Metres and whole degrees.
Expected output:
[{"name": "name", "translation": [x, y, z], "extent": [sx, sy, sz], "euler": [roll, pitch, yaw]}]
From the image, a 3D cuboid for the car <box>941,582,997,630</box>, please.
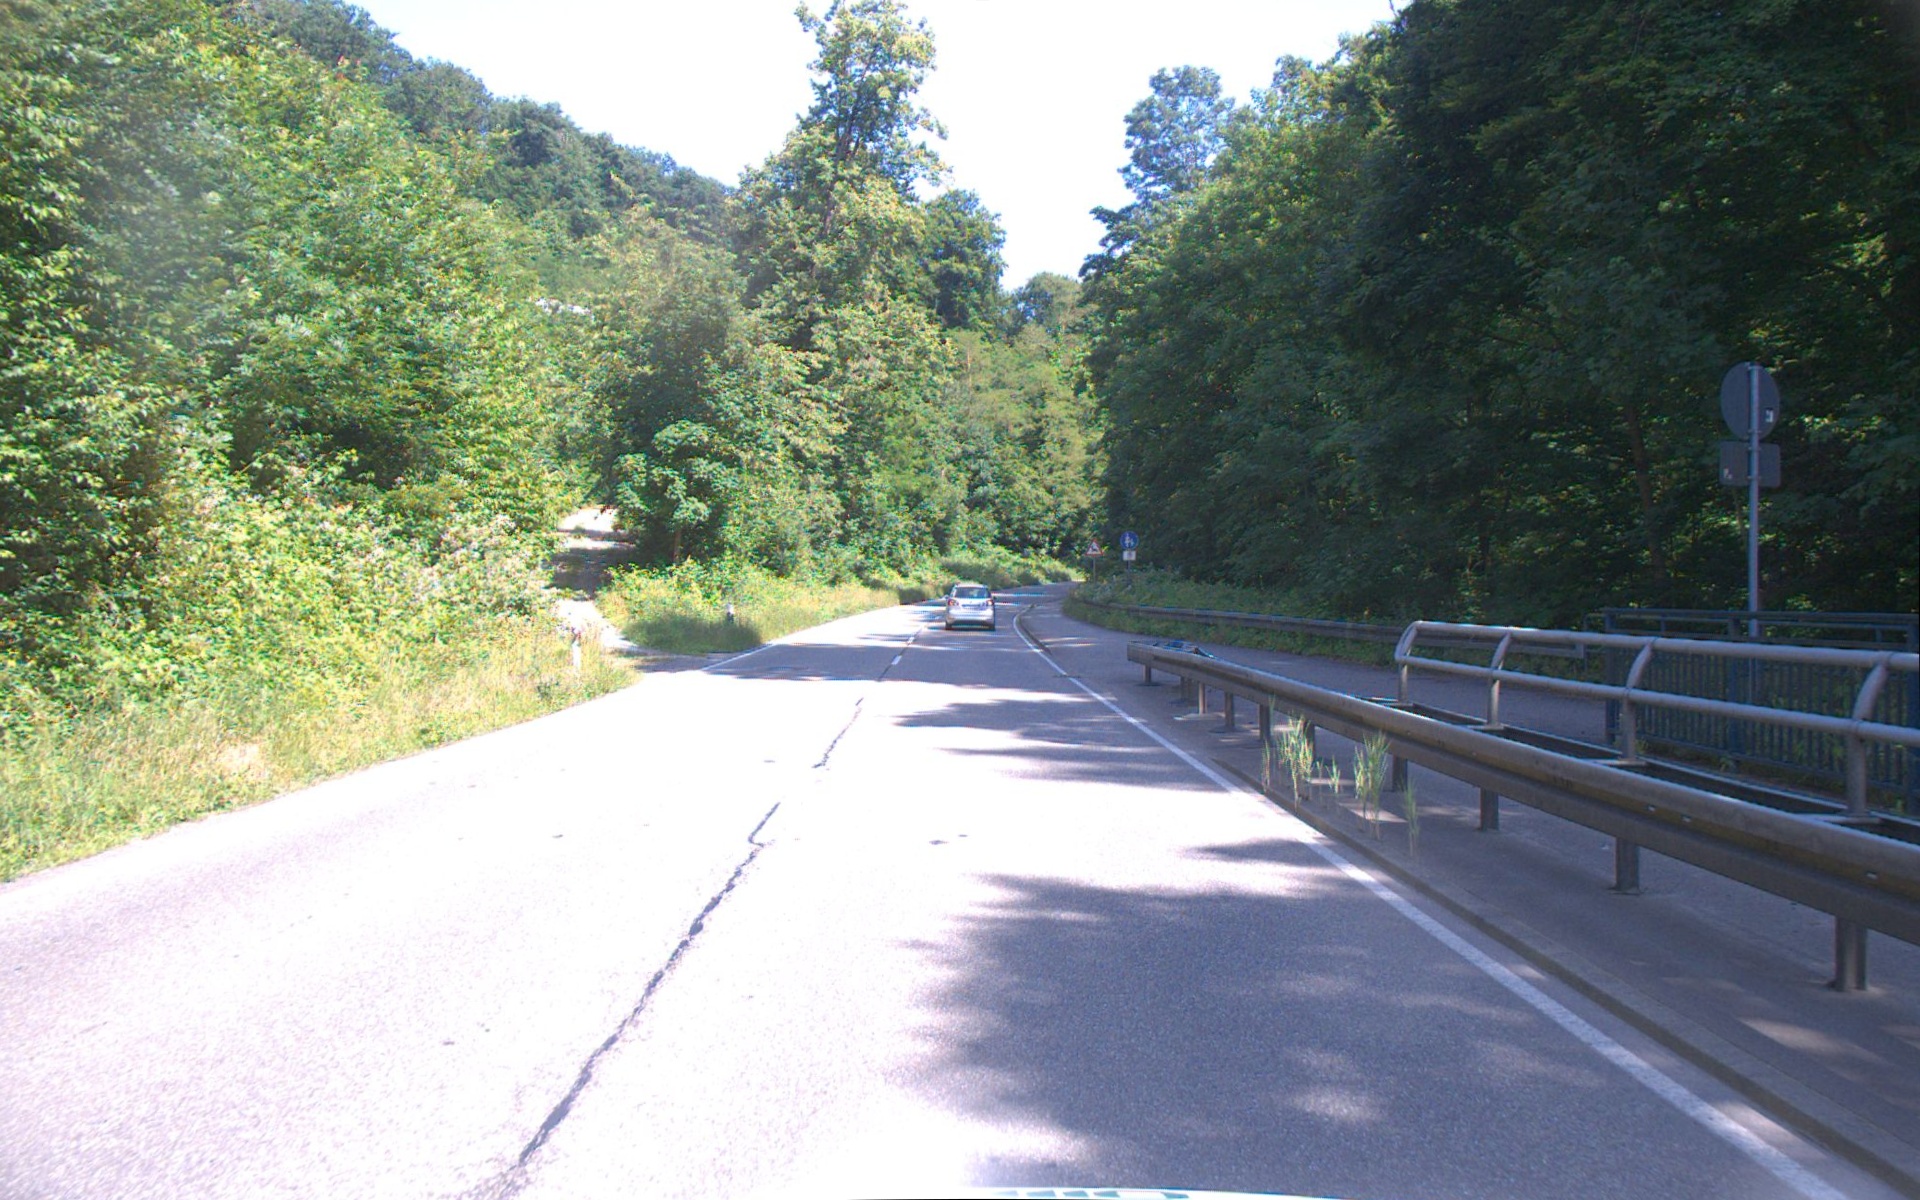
[{"name": "car", "translation": [0.344, 0.184, 57.371], "extent": [1.714, 1.546, 4.161], "euler": [1, 1, 3]}]
